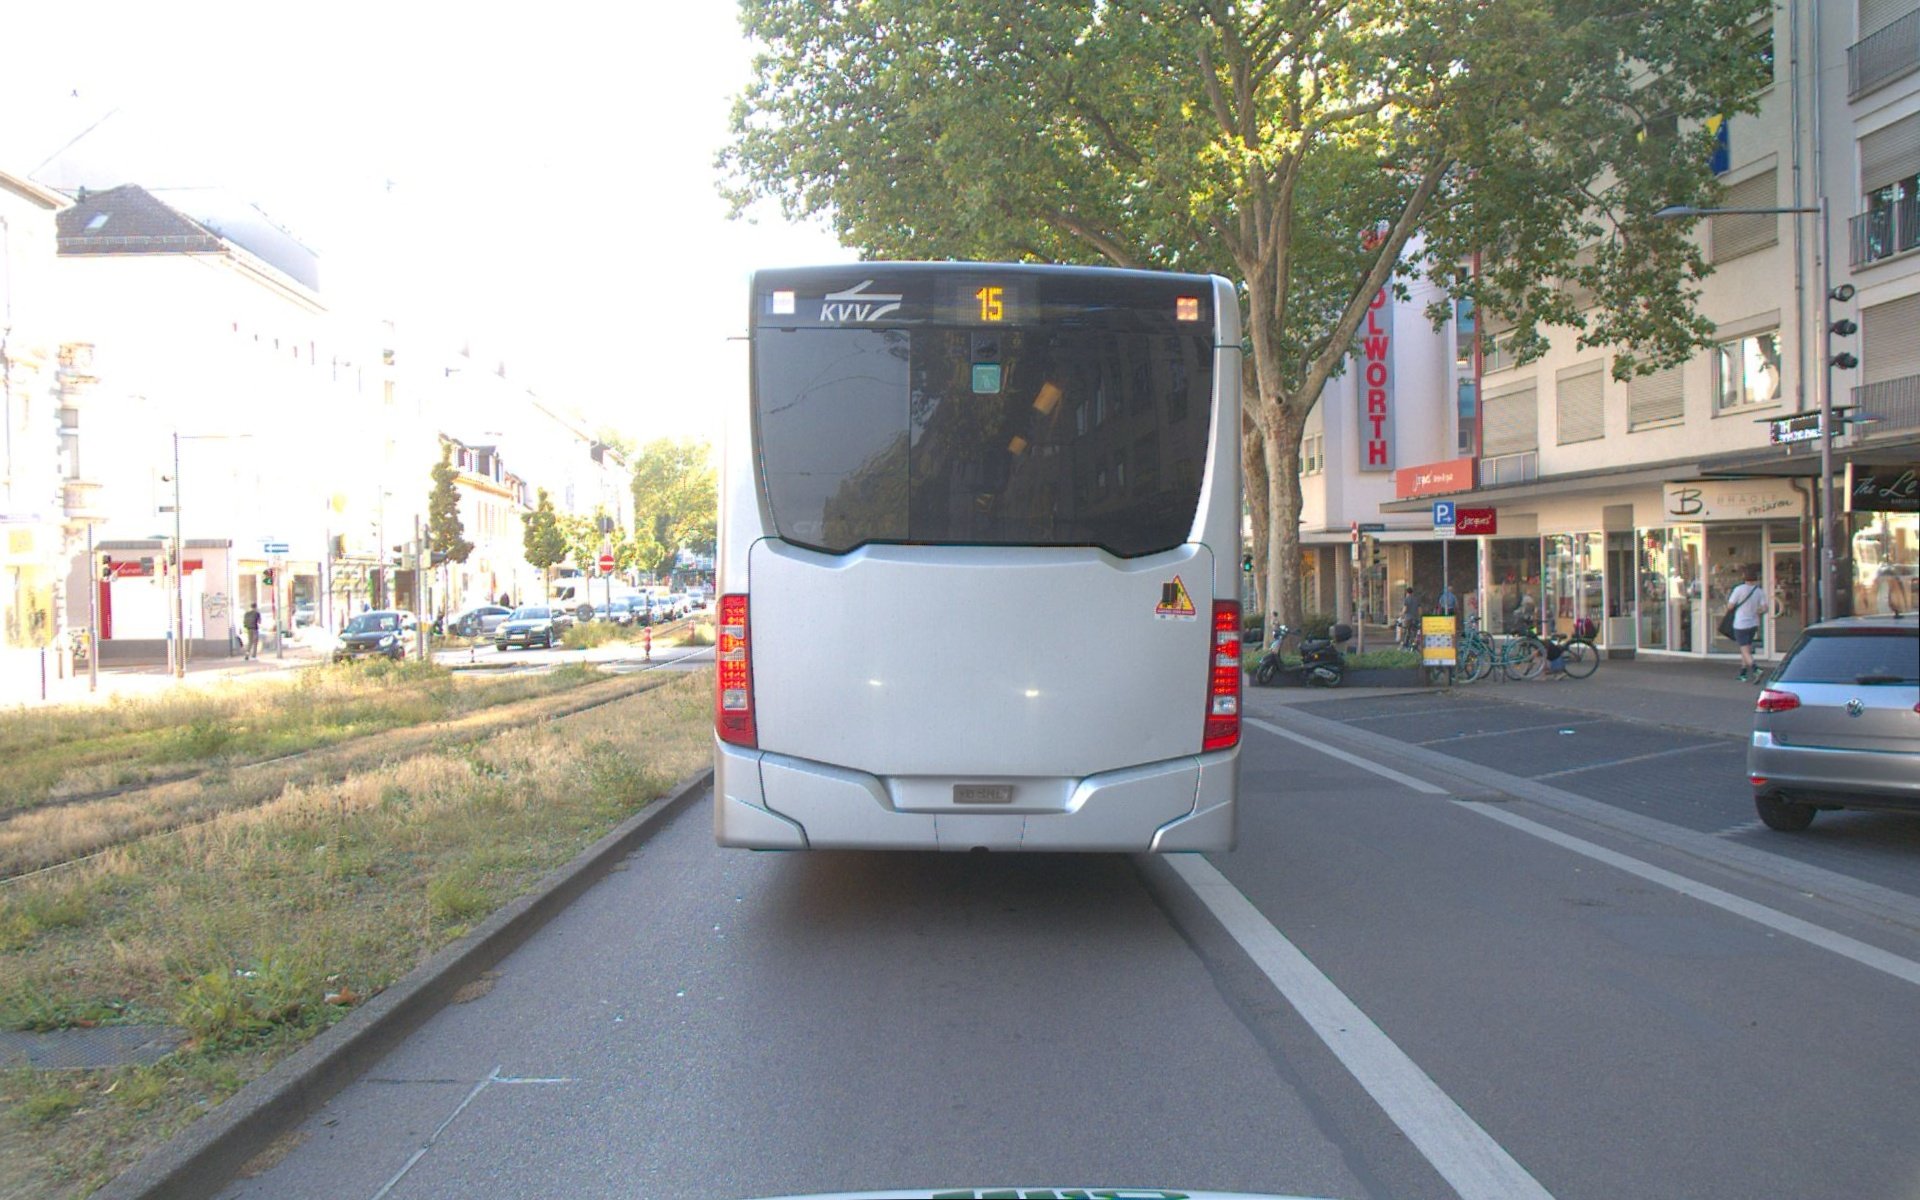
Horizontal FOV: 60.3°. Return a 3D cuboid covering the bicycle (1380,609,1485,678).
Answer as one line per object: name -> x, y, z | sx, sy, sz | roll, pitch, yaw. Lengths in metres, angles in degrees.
bicycle -> 9.314, 0.852, 32.626 | 1.836, 1.210, 0.712 | -4, -1, 8

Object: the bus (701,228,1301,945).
bus -> 0.204, -0.082, 10.811 | 2.623, 3.137, 7.114 | 0, 0, 0

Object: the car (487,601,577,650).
car -> -14.960, 0.854, 58.045 | 1.953, 1.586, 4.774 | -1, 0, -1

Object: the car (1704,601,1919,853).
car -> 7.106, 0.757, 11.573 | 4.136, 1.477, 1.784 | -1, 0, -39

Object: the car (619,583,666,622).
car -> -17.319, 0.153, 90.403 | 1.954, 2.049, 3.997 | -1, 0, -3

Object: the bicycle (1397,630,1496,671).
bicycle -> 9.874, 1.024, 33.633 | 1.836, 0.778, 0.712 | -1, 1, 8

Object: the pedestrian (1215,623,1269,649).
pedestrian -> 6.863, 0.881, 40.260 | 1.229, 0.599, 0.482 | -1, 0, -3

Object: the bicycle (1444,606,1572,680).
bicycle -> 9.976, 0.777, 30.162 | 2.037, 1.254, 0.832 | -2, 0, 4

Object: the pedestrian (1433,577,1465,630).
pedestrian -> 15.999, 0.111, 54.122 | 0.733, 1.708, 0.834 | -1, 2, -7

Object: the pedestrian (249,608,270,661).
pedestrian -> -23.010, 1.133, 54.323 | 0.417, 1.743, 0.508 | -1, 0, 3

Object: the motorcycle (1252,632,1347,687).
motorcycle -> 6.014, 1.046, 29.325 | 1.539, 0.908, 0.544 | -1, 0, -4

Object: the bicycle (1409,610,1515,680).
bicycle -> 9.589, 0.858, 31.620 | 1.753, 1.210, 0.671 | -4, -1, -9

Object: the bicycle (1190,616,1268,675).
bicycle -> 5.483, 0.935, 33.780 | 1.478, 1.124, 0.460 | 2, 0, 0

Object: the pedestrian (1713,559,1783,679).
pedestrian -> 12.838, 0.300, 26.952 | 0.632, 1.909, 0.821 | -1, 0, -14

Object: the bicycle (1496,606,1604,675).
bicycle -> 10.880, 0.741, 30.558 | 1.726, 1.174, 0.679 | -3, 0, 8

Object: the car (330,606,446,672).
car -> -14.681, 0.968, 42.615 | 1.687, 1.535, 3.476 | -3, 0, 0

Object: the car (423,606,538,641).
car -> -21.234, 1.014, 73.292 | 4.504, 1.437, 1.974 | -1, 0, -37

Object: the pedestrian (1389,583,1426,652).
pedestrian -> 11.983, 0.472, 44.288 | 0.764, 1.825, 0.764 | -1, 0, -1

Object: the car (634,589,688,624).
car -> -14.786, 0.317, 82.005 | 1.744, 1.643, 4.509 | 1, 0, 1

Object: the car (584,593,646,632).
car -> -15.219, 0.535, 73.118 | 1.744, 1.475, 4.045 | -3, 1, 1
